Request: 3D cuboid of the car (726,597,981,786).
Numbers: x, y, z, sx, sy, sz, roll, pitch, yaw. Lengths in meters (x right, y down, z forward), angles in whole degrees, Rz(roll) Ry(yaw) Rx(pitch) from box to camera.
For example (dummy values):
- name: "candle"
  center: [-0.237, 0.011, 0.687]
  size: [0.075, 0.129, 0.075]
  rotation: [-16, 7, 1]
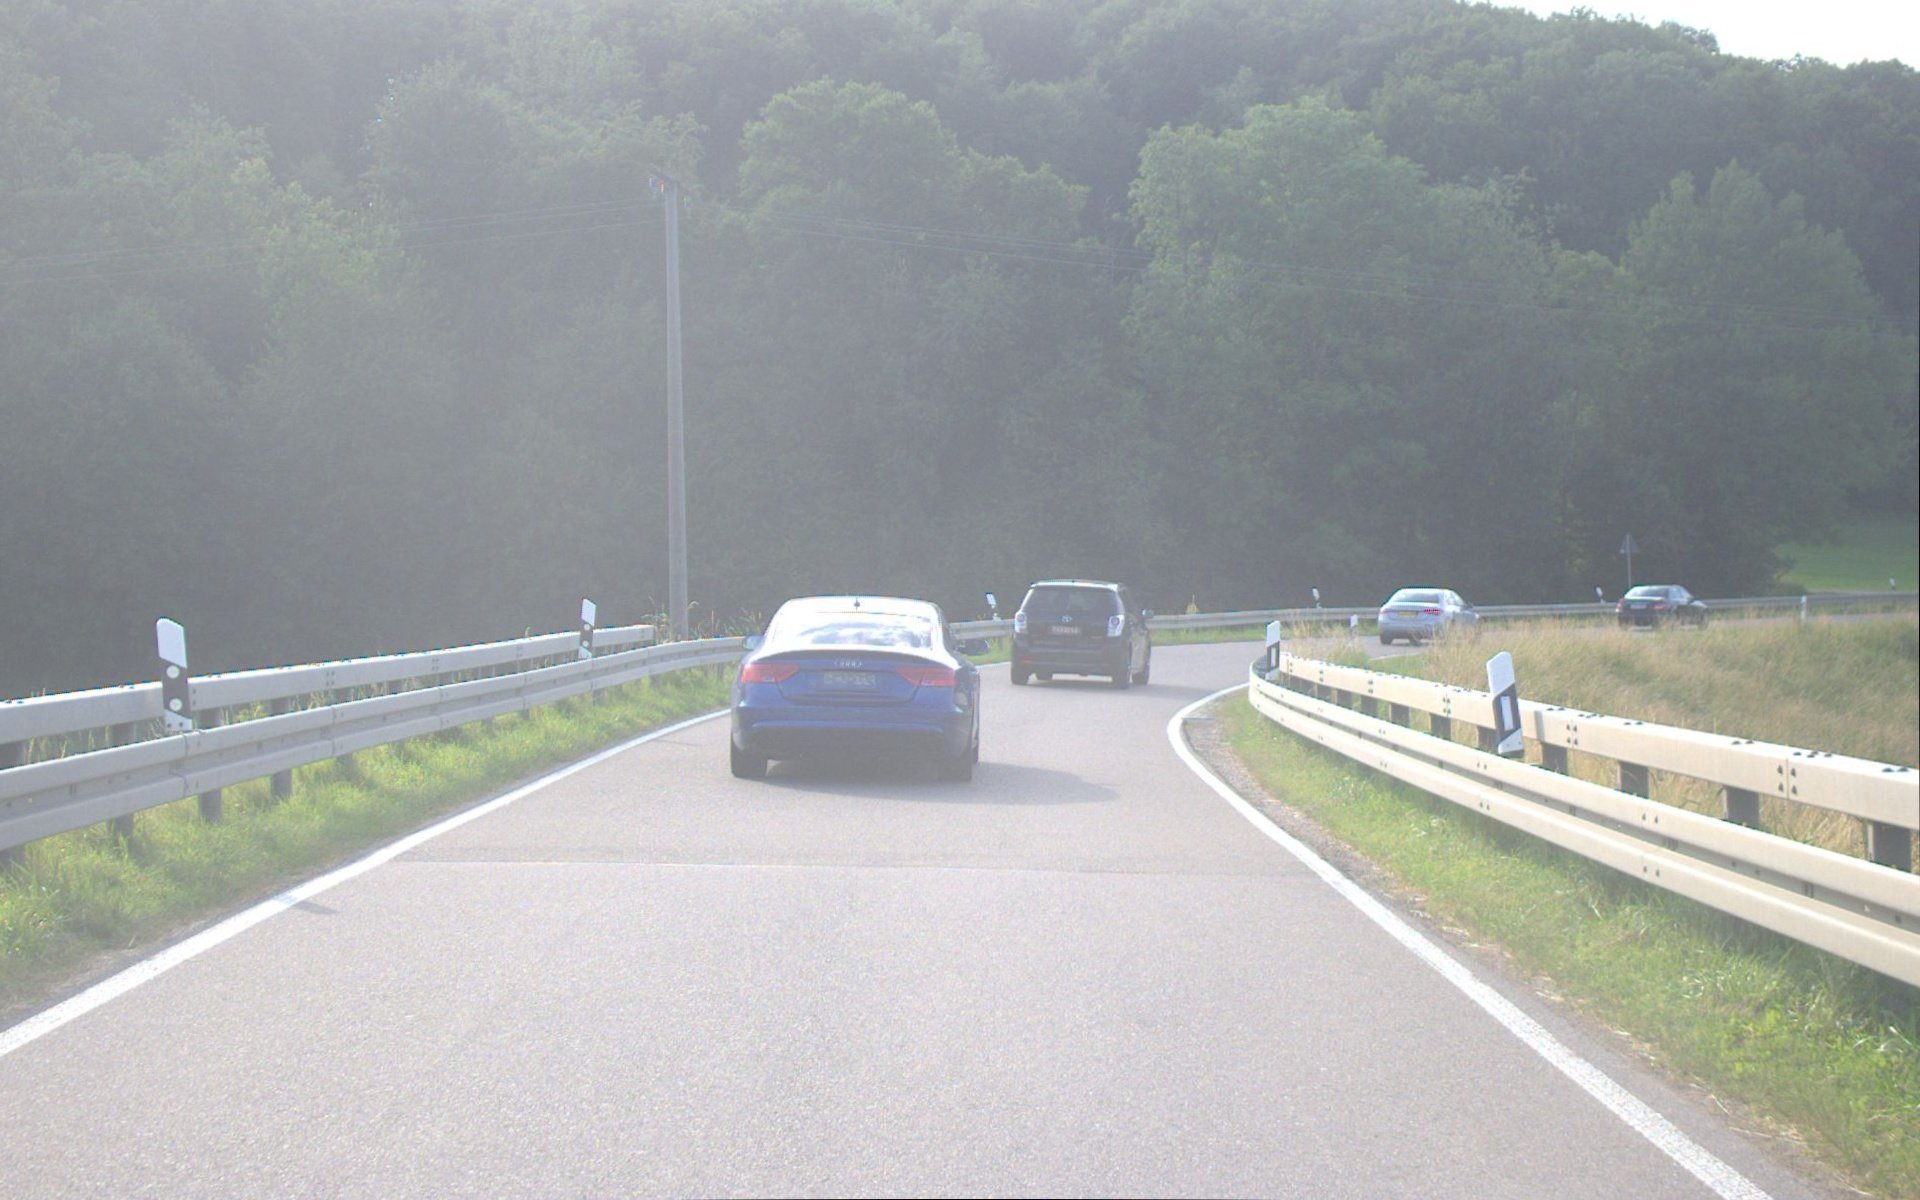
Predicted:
- name: "car"
  center: [-0.771, 0.672, 27.001]
  size: [1.818, 1.334, 4.350]
  rotation: [1, 0, 0]

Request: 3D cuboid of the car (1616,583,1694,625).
- name: "car"
  center: [21.717, 0.141, 107.350]
  size: [1.473, 1.223, 3.294]
  rotation: [-1, -2, 29]

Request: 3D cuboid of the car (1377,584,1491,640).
- name: "car"
  center: [12.028, 0.307, 87.045]
  size: [1.684, 1.371, 3.994]
  rotation: [-1, 0, 26]

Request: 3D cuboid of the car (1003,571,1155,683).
- name: "car"
  center: [1.861, 0.380, 52.679]
  size: [1.862, 1.563, 3.999]
  rotation: [2, 1, 8]
